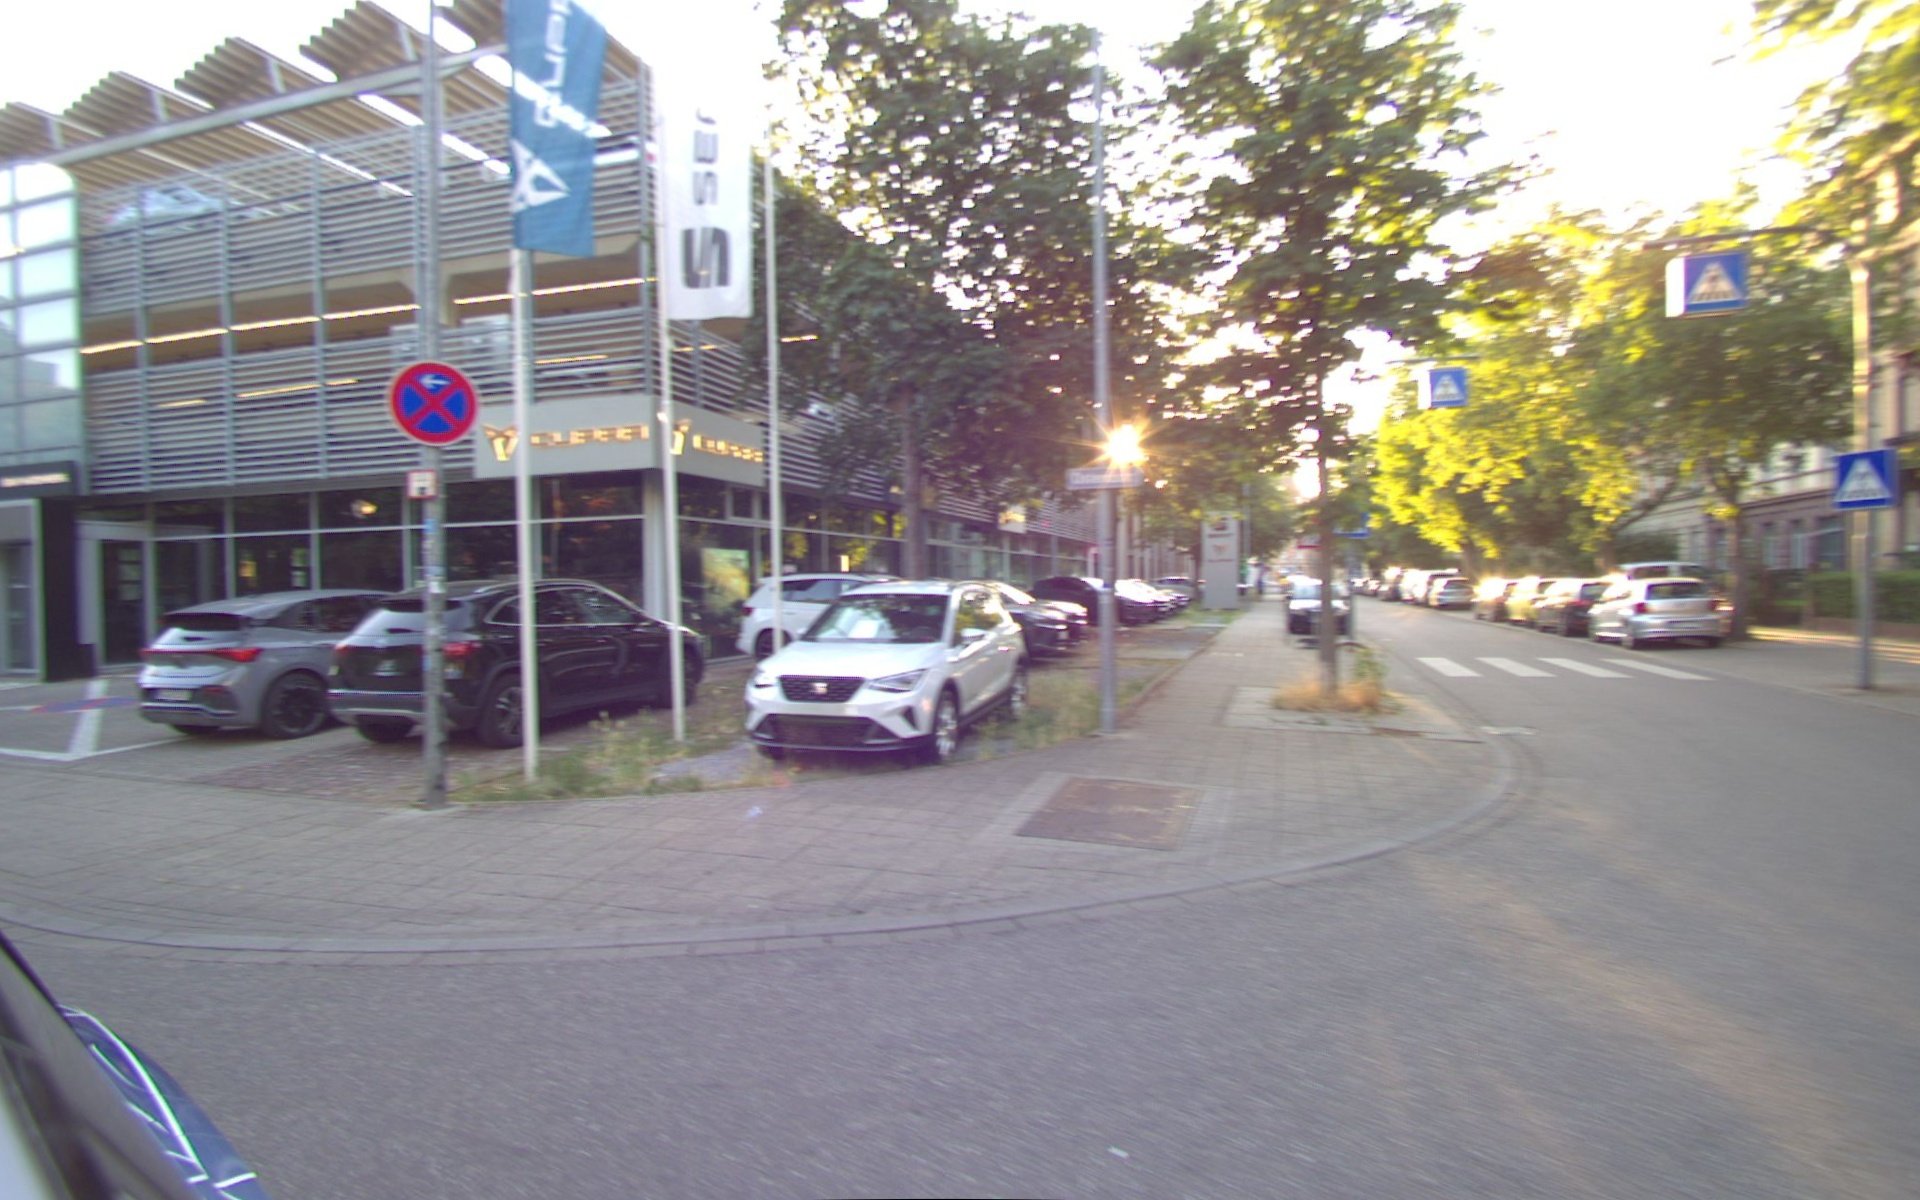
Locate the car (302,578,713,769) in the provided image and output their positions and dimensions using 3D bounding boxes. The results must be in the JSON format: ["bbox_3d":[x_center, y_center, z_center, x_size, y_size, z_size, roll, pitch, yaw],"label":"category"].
[{"bbox_3d":[-4.575,0.615,10.992,1.705,1.617,4.101,-1,1,19],"label":"car"}]

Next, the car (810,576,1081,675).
[{"bbox_3d":[-0.244,0.476,18.359,4.554,1.628,1.861,-1,0,18],"label":"car"}]

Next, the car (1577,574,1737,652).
[{"bbox_3d":[14.906,0.253,21.866,1.603,1.452,3.736,-4,-1,15],"label":"car"}]

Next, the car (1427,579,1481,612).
[{"bbox_3d":[23.670,-0.229,48.617,1.603,1.452,4.083,-2,0,16],"label":"car"}]

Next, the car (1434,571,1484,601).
[{"bbox_3d":[25.952,-0.712,52.726,1.603,1.452,4.083,-2,0,16],"label":"car"}]

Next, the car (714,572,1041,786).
[{"bbox_3d":[-0.529,0.581,9.603,1.754,1.584,3.879,-1,0,18],"label":"car"}]

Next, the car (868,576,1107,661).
[{"bbox_3d":[0.577,0.395,20.711,4.554,1.584,1.861,-1,0,18],"label":"car"}]

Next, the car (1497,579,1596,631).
[{"bbox_3d":[18.114,0.136,31.439,1.603,1.452,4.288,-2,0,16],"label":"car"}]

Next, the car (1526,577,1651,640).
[{"bbox_3d":[16.269,0.205,26.427,1.603,1.452,4.288,-2,0,16],"label":"car"}]

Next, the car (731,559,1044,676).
[{"bbox_3d":[-1.122,0.300,15.964,4.554,1.656,1.861,-1,0,18],"label":"car"}]

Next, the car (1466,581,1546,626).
[{"bbox_3d":[19.427,0.109,36.170,1.603,1.452,4.083,-2,0,16],"label":"car"}]

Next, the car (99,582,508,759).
[{"bbox_3d":[-7.429,0.675,11.885,1.695,1.603,3.667,-1,2,22],"label":"car"}]
